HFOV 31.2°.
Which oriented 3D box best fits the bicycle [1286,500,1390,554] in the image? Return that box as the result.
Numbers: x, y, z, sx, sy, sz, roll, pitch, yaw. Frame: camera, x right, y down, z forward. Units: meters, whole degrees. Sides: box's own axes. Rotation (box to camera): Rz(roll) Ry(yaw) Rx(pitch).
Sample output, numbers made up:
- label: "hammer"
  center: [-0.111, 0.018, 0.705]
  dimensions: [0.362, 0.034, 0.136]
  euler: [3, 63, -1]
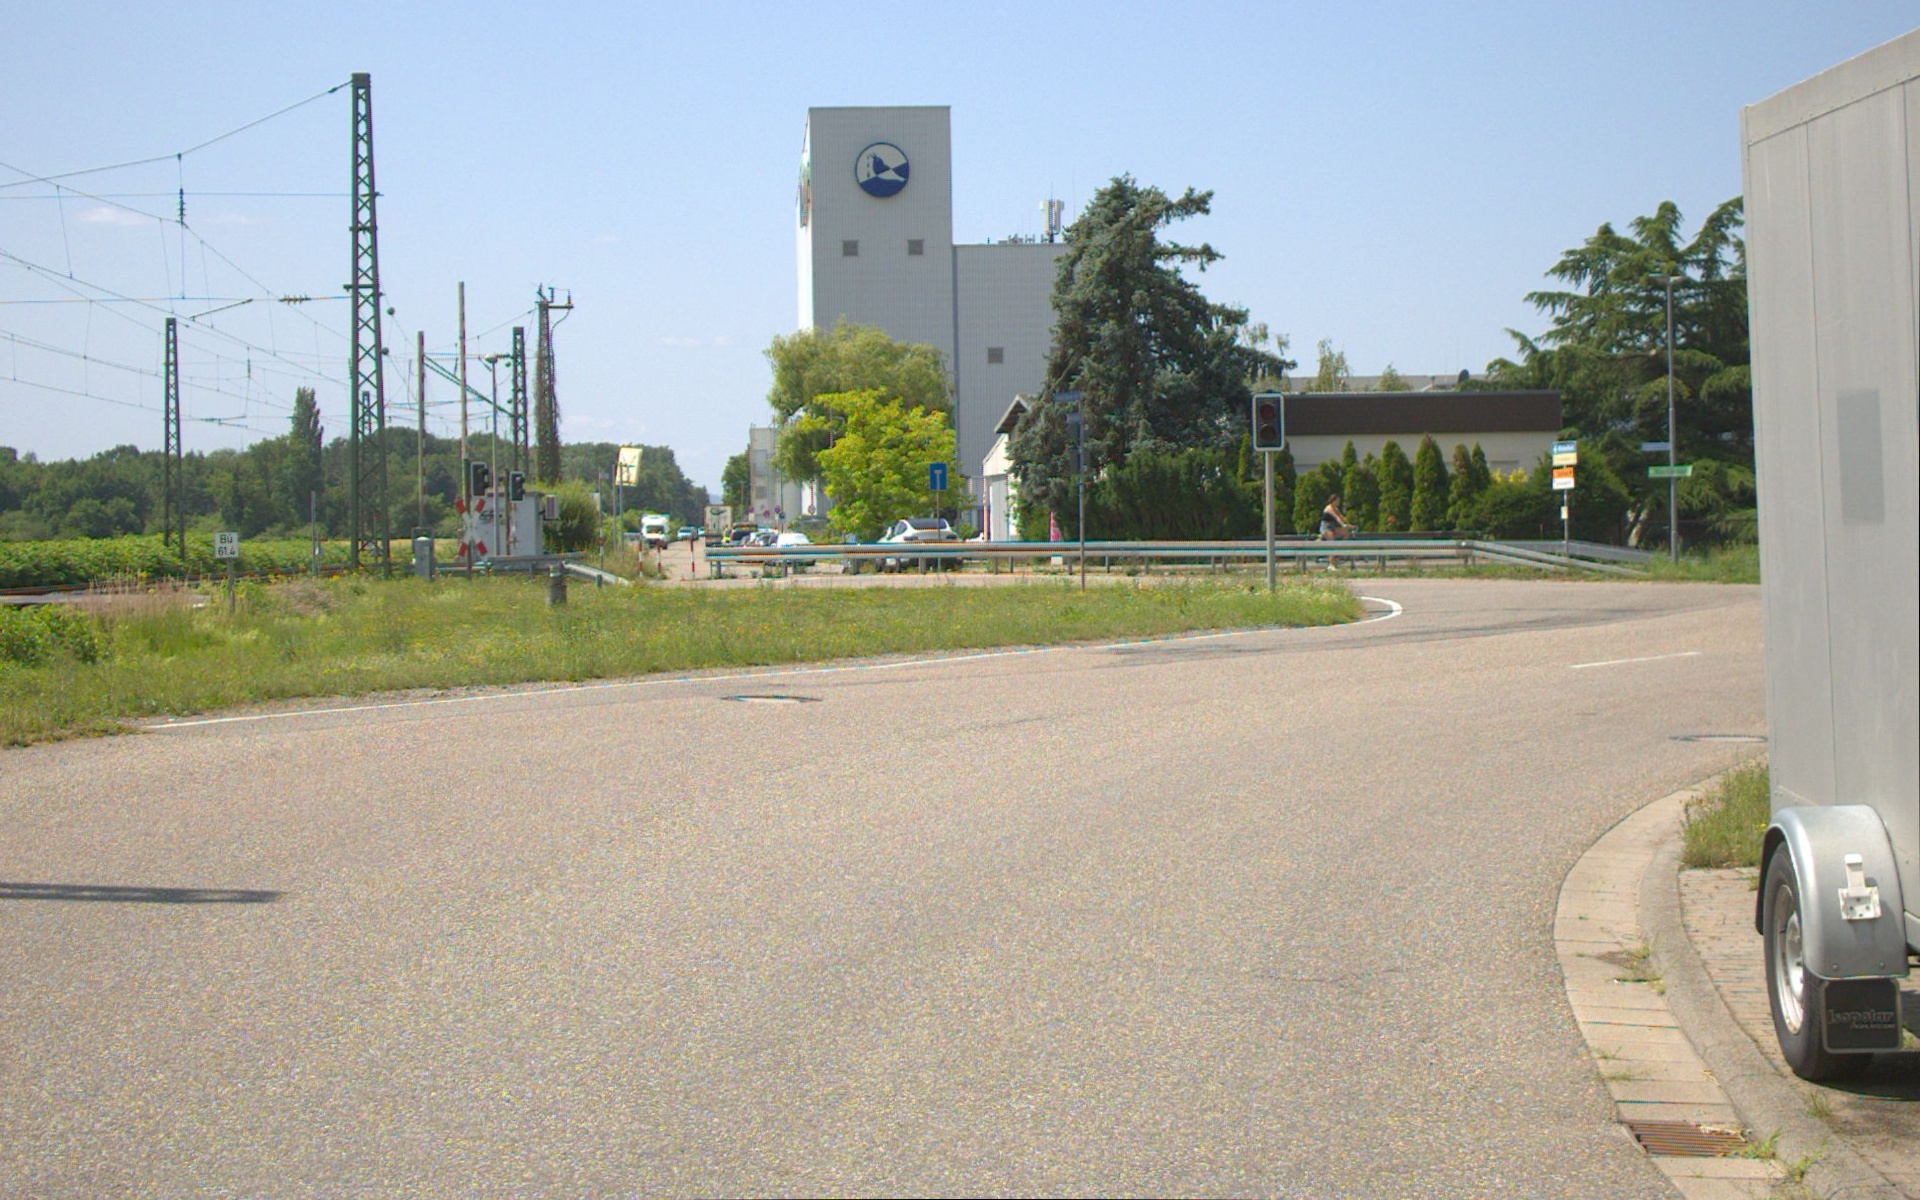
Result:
- label: "bicycle"
  center: [8.244, -1.591, 75.003]
  dimensions: [2.142, 1.160, 0.660]
  euler: [0, 2, 21]

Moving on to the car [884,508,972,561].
- label: "car"
  center: [-0.980, -1.986, 102.853]
  dimensions: [1.993, 1.504, 4.456]
  euler: [-1, 2, -9]

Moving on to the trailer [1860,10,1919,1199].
- label: "trailer"
  center: [3.047, 0.063, 4.995]
  dimensions: [1.918, 2.499, 4.742]
  euler: [-3, 2, -3]

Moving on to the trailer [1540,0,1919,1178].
- label: "trailer"
  center: [3.061, -0.181, 10.098]
  dimensions: [1.933, 2.635, 5.183]
  euler: [-3, 2, 3]

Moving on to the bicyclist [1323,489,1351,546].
- label: "bicyclist"
  center: [8.236, -1.800, 75.098]
  dimensions: [0.510, 1.251, 0.469]
  euler: [0, 2, 21]
